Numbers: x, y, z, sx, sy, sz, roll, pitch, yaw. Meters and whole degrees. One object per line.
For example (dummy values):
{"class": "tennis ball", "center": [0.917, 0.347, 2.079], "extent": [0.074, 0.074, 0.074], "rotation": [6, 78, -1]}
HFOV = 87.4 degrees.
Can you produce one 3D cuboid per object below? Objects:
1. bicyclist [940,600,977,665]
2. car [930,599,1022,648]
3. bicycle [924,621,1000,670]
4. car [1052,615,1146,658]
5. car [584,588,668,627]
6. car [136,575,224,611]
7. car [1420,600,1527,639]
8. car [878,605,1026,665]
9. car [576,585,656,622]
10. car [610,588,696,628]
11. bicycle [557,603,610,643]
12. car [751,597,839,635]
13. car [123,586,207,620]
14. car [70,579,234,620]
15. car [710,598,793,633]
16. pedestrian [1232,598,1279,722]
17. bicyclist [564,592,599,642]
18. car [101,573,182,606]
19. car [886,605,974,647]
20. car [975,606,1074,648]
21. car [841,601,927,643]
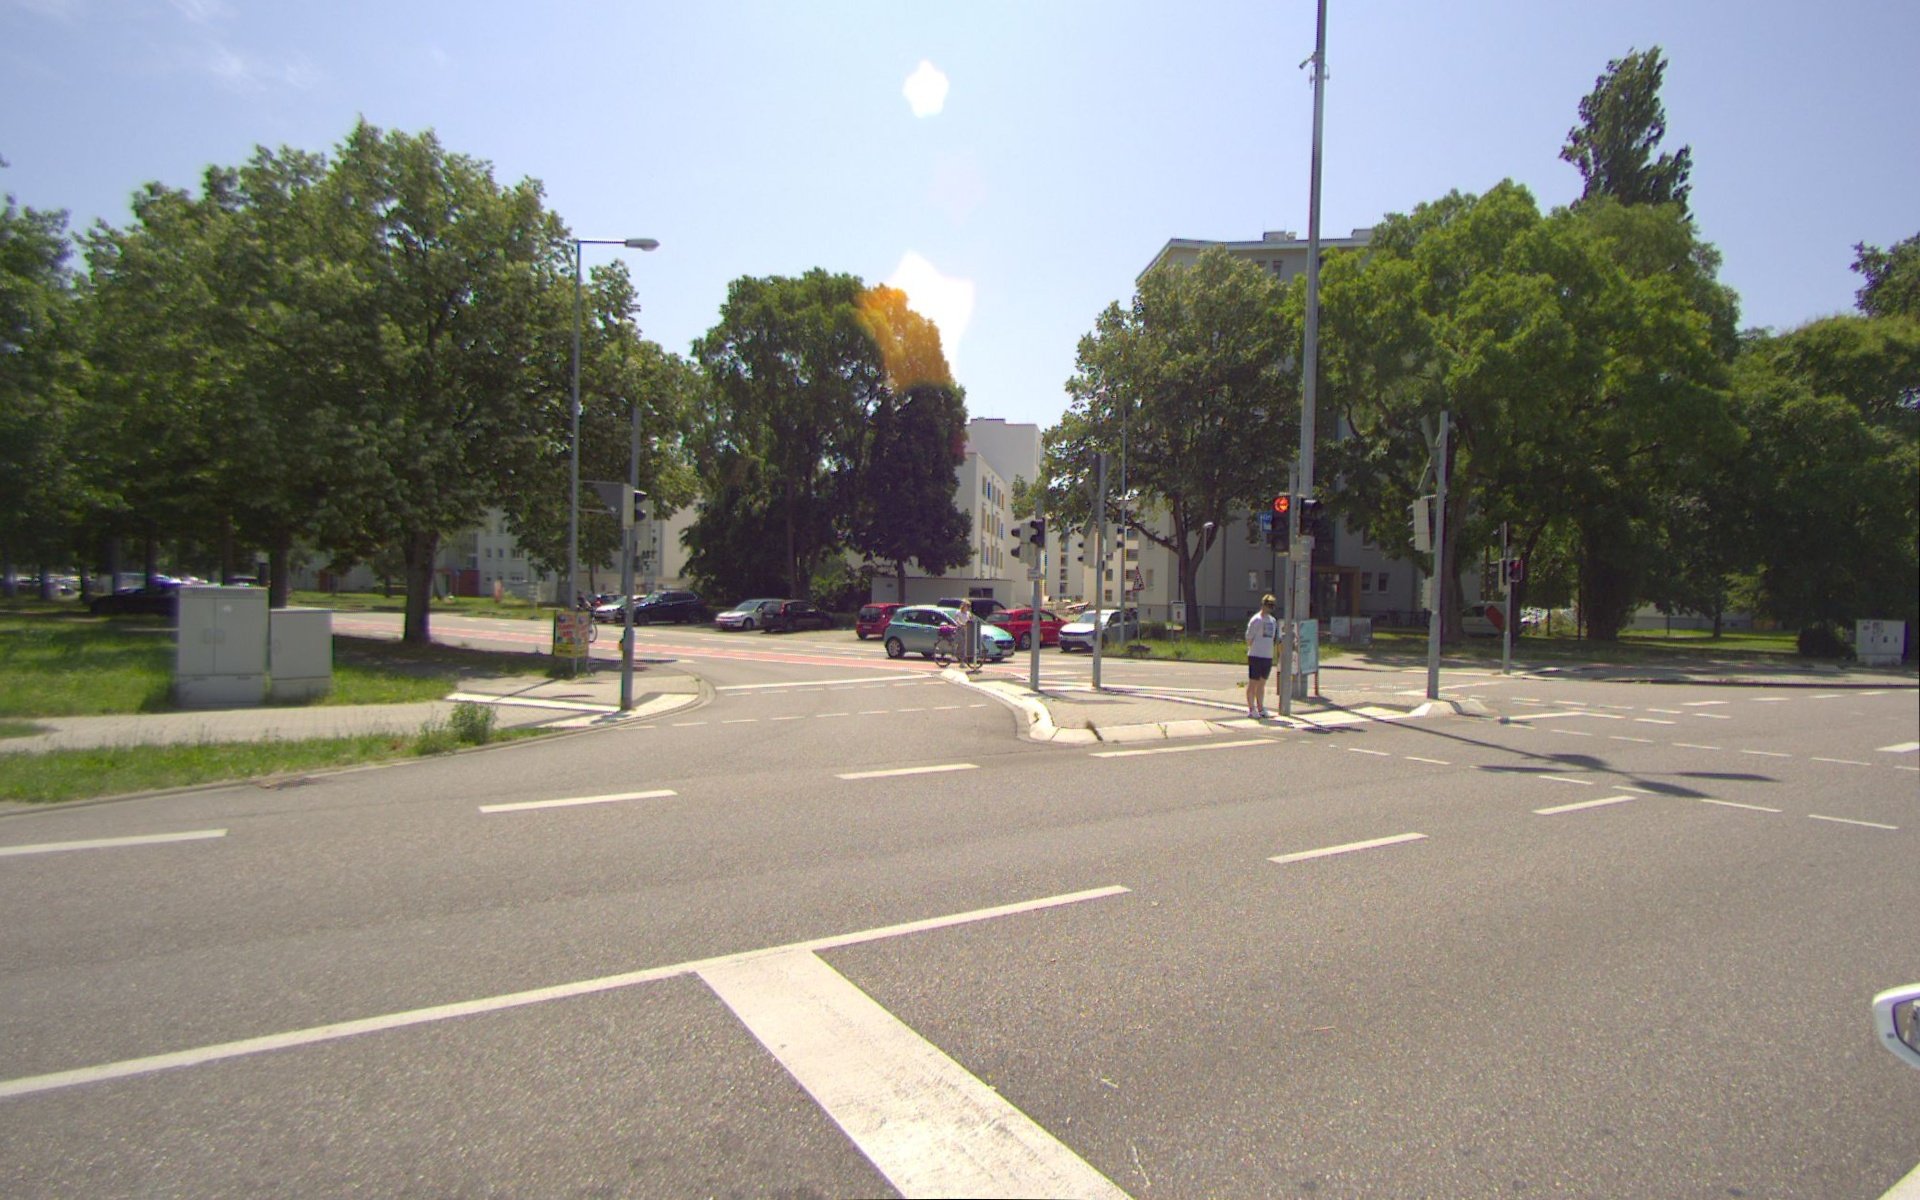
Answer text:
{"class": "bicyclist", "center": [-0.038, 0.784, 24.804], "extent": [0.655, 1.557, 0.629], "rotation": [1, 0, 37]}
{"class": "car", "center": [0.708, 0.913, 40.709], "extent": [1.682, 1.825, 3.984], "rotation": [3, 1, 37]}
{"class": "bicycle", "center": [0.034, 1.094, 24.741], "extent": [1.840, 1.108, 0.644], "rotation": [1, 0, 38]}
{"class": "car", "center": [5.185, 1.295, 37.109], "extent": [1.604, 1.399, 3.983], "rotation": [3, 1, 38]}
{"class": "car", "center": [-18.227, 0.416, 54.947], "extent": [1.822, 1.974, 3.984], "rotation": [3, 1, 37]}
{"class": "car", "center": [-48.706, -0.429, 62.769], "extent": [1.970, 2.041, 3.981], "rotation": [6, 3, 40]}
{"class": "car", "center": [25.963, 0.971, 50.902], "extent": [4.456, 1.791, 1.793], "rotation": [1, 0, 10]}
{"class": "car", "center": [-0.262, 0.929, 28.063], "extent": [3.834, 1.488, 1.769], "rotation": [1, 1, 36]}
{"class": "car", "center": [-19.601, 0.223, 57.374], "extent": [1.822, 1.974, 3.984], "rotation": [3, 1, 37]}
{"class": "car", "center": [-16.121, 0.407, 52.824], "extent": [1.822, 1.974, 3.984], "rotation": [3, 1, 37]}
{"class": "bicycle", "center": [-13.151, 0.799, 35.024], "extent": [2.028, 1.317, 0.770], "rotation": [1, 0, 38]}
{"class": "car", "center": [-7.812, 0.748, 47.842], "extent": [1.823, 1.734, 3.985], "rotation": [1, 0, 37]}
{"class": "car", "center": [-51.886, 0.211, 65.568], "extent": [1.969, 2.041, 3.982], "rotation": [6, 3, 39]}
{"class": "car", "center": [-31.156, -0.014, 38.880], "extent": [4.505, 1.487, 1.995], "rotation": [0, 0, -13]}
{"class": "car", "center": [-10.125, 0.759, 49.038], "extent": [1.667, 1.583, 3.823], "rotation": [1, 0, 37]}
{"class": "pedestrian", "center": [4.153, 0.833, 14.127], "extent": [0.481, 1.710, 0.380], "rotation": [1, 1, -34]}
{"class": "bicyclist", "center": [-13.226, 0.595, 35.099], "extent": [0.884, 1.715, 0.770], "rotation": [2, 0, 38]}
{"class": "car", "center": [-56.307, -0.718, 69.147], "extent": [1.969, 2.041, 3.982], "rotation": [6, 3, 39]}
{"class": "car", "center": [-1.209, 1.039, 42.009], "extent": [1.680, 1.613, 3.989], "rotation": [3, 1, 33]}
{"class": "car", "center": [2.539, 1.022, 38.691], "extent": [1.600, 1.483, 3.976], "rotation": [3, 1, 43]}
{"class": "car", "center": [-3.241, 0.938, 43.706], "extent": [1.819, 1.690, 3.993], "rotation": [1, 0, 29]}
